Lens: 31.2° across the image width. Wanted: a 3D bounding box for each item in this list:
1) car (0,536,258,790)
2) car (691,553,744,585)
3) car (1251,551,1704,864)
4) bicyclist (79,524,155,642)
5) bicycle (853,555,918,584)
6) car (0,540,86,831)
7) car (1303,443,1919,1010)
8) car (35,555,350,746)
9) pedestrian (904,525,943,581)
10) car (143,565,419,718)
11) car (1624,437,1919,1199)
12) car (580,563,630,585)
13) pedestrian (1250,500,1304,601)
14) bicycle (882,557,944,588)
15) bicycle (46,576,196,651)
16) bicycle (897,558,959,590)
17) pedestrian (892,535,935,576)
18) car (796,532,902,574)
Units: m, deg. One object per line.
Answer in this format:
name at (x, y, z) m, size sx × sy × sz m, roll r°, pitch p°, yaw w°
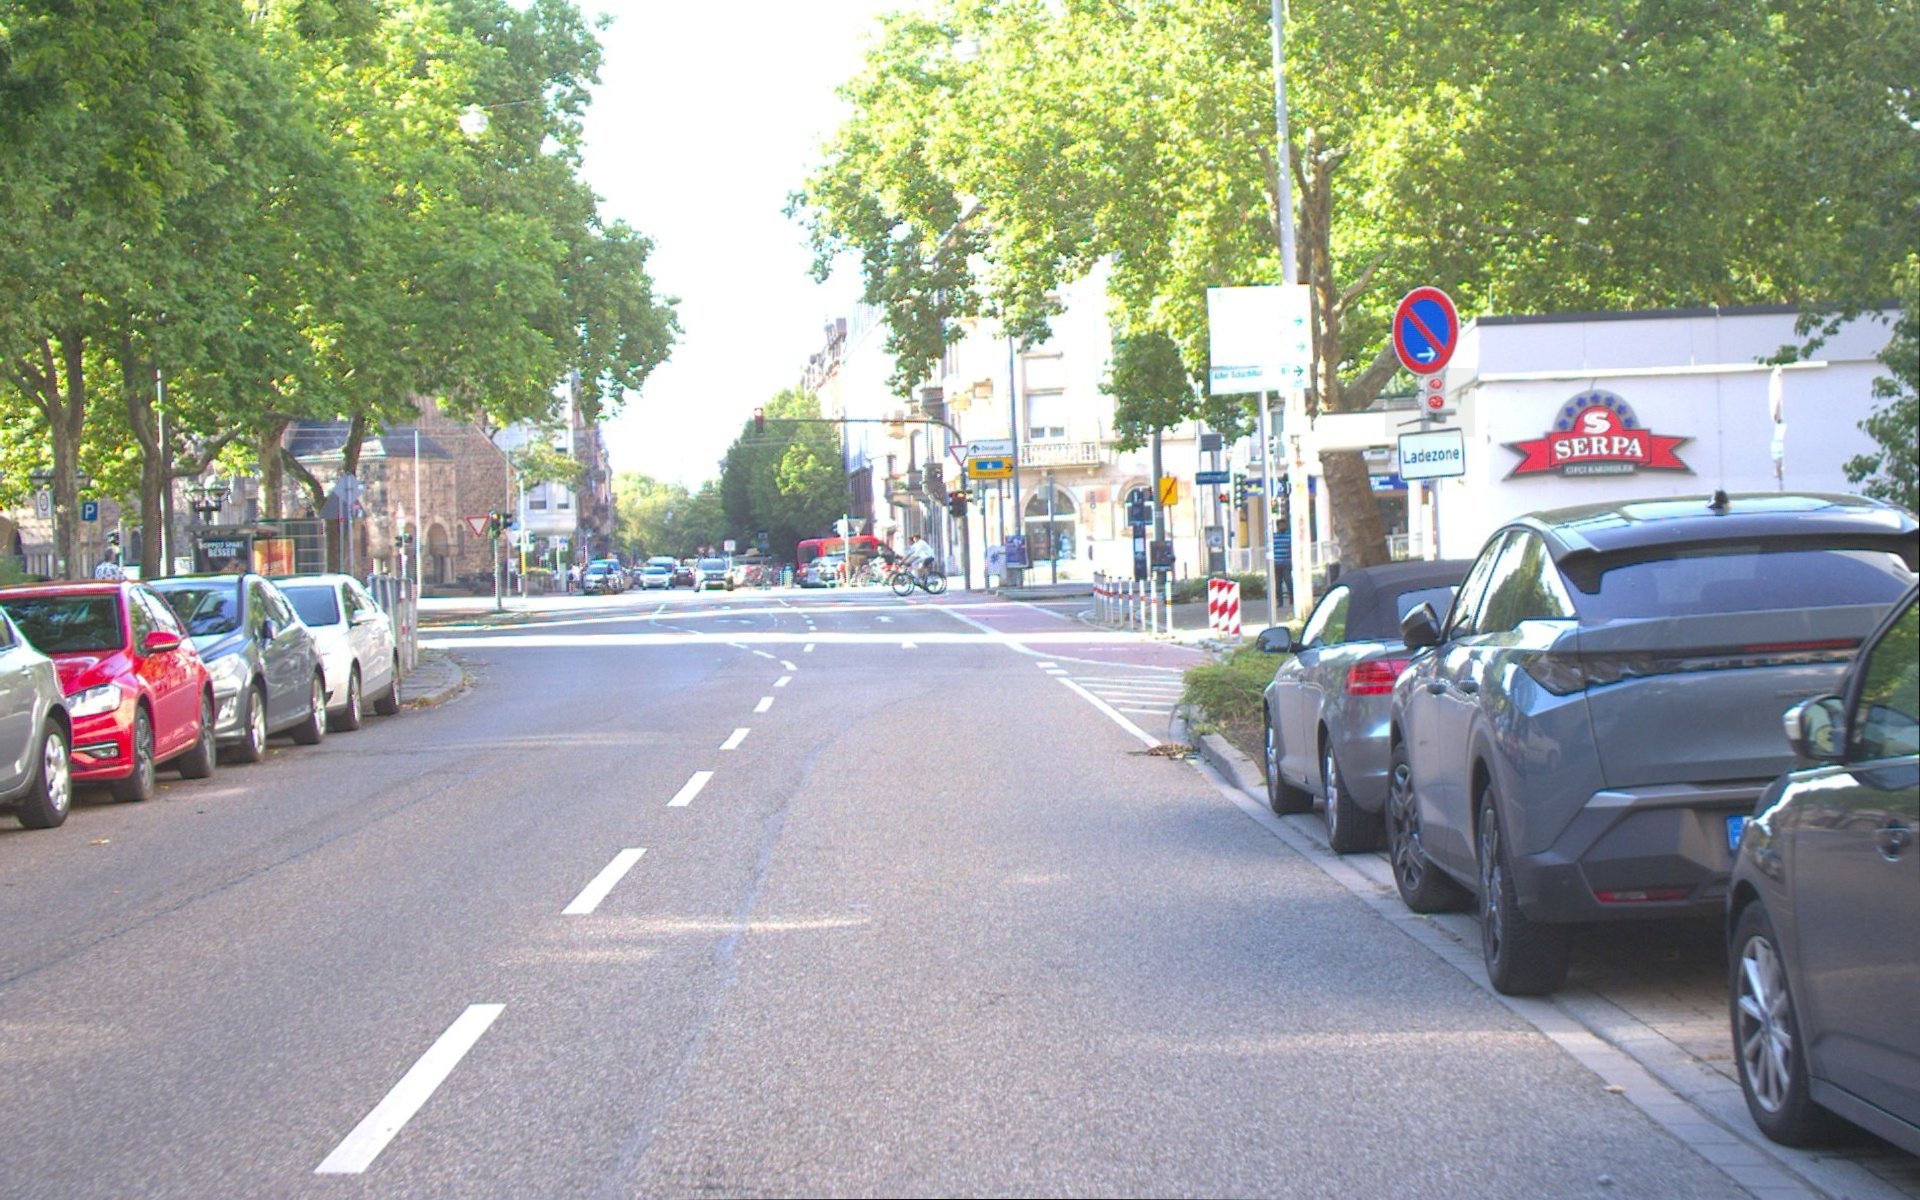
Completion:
car at (-6.036, 0.392, 23.088) m, size 1.870 × 1.553 × 4.000 m, roll 0°, pitch 0°, yaw -1°
car at (-11.275, -1.424, 159.869) m, size 1.587 × 1.457 × 3.181 m, roll 0°, pitch 0°, yaw 13°
car at (2.617, 0.518, 18.255) m, size 1.740 × 1.468 × 4.000 m, roll 0°, pitch 0°, yaw -1°
bicyclist at (-14.527, -0.285, 59.246) m, size 0.976 × 2.007 × 0.796 m, roll 0°, pitch -1°, yaw 34°
bicycle at (-3.260, -1.335, 150.622) m, size 2.802 × 1.199 × 0.510 m, roll 0°, pitch 0°, yaw -7°
car at (-6.066, 0.502, 17.893) m, size 1.871 × 1.553 × 4.497 m, roll -3°, pitch 0°, yaw -1°
car at (2.533, 0.378, 12.714) m, size 1.927 × 1.653 × 4.677 m, roll -2°, pitch 0°, yaw -1°
car at (-6.182, 0.392, 28.123) m, size 1.703 × 1.435 × 4.129 m, roll 0°, pitch 0°, yaw -1°
pedestrian at (-1.119, -1.441, 104.897) m, size 0.992 × 1.702 × 0.627 m, roll 0°, pitch -1°, yaw 25°
car at (-6.401, 0.381, 32.893) m, size 1.769 × 1.348 × 4.711 m, roll 0°, pitch 0°, yaw -1°
car at (2.809, 0.480, 7.185) m, size 1.897 × 1.645 × 4.343 m, roll -1°, pitch 1°, yaw -1°
car at (-19.128, -1.383, 185.496) m, size 1.595 × 1.140 × 3.381 m, roll 0°, pitch 0°, yaw 14°
pedestrian at (6.553, -1.022, 71.165) m, size 0.827 × 2.007 × 1.153 m, roll -5°, pitch 0°, yaw -1°
bicycle at (-1.467, -0.855, 106.982) m, size 1.784 × 0.892 × 0.749 m, roll -1°, pitch 1°, yaw 29°
bicycle at (-14.465, 0.232, 59.345) m, size 1.010 × 1.260 × 2.478 m, roll 0°, pitch 0°, yaw 34°
bicycle at (-0.974, -0.792, 104.810) m, size 1.786 × 0.978 × 0.656 m, roll 0°, pitch 0°, yaw 25°
pedestrian at (-1.447, -1.378, 106.935) m, size 1.050 × 1.273 × 0.791 m, roll 0°, pitch 0°, yaw 30°
car at (-5.529, -2.326, 171.040) m, size 4.988 × 2.007 × 2.166 m, roll 1°, pitch 0°, yaw -40°
